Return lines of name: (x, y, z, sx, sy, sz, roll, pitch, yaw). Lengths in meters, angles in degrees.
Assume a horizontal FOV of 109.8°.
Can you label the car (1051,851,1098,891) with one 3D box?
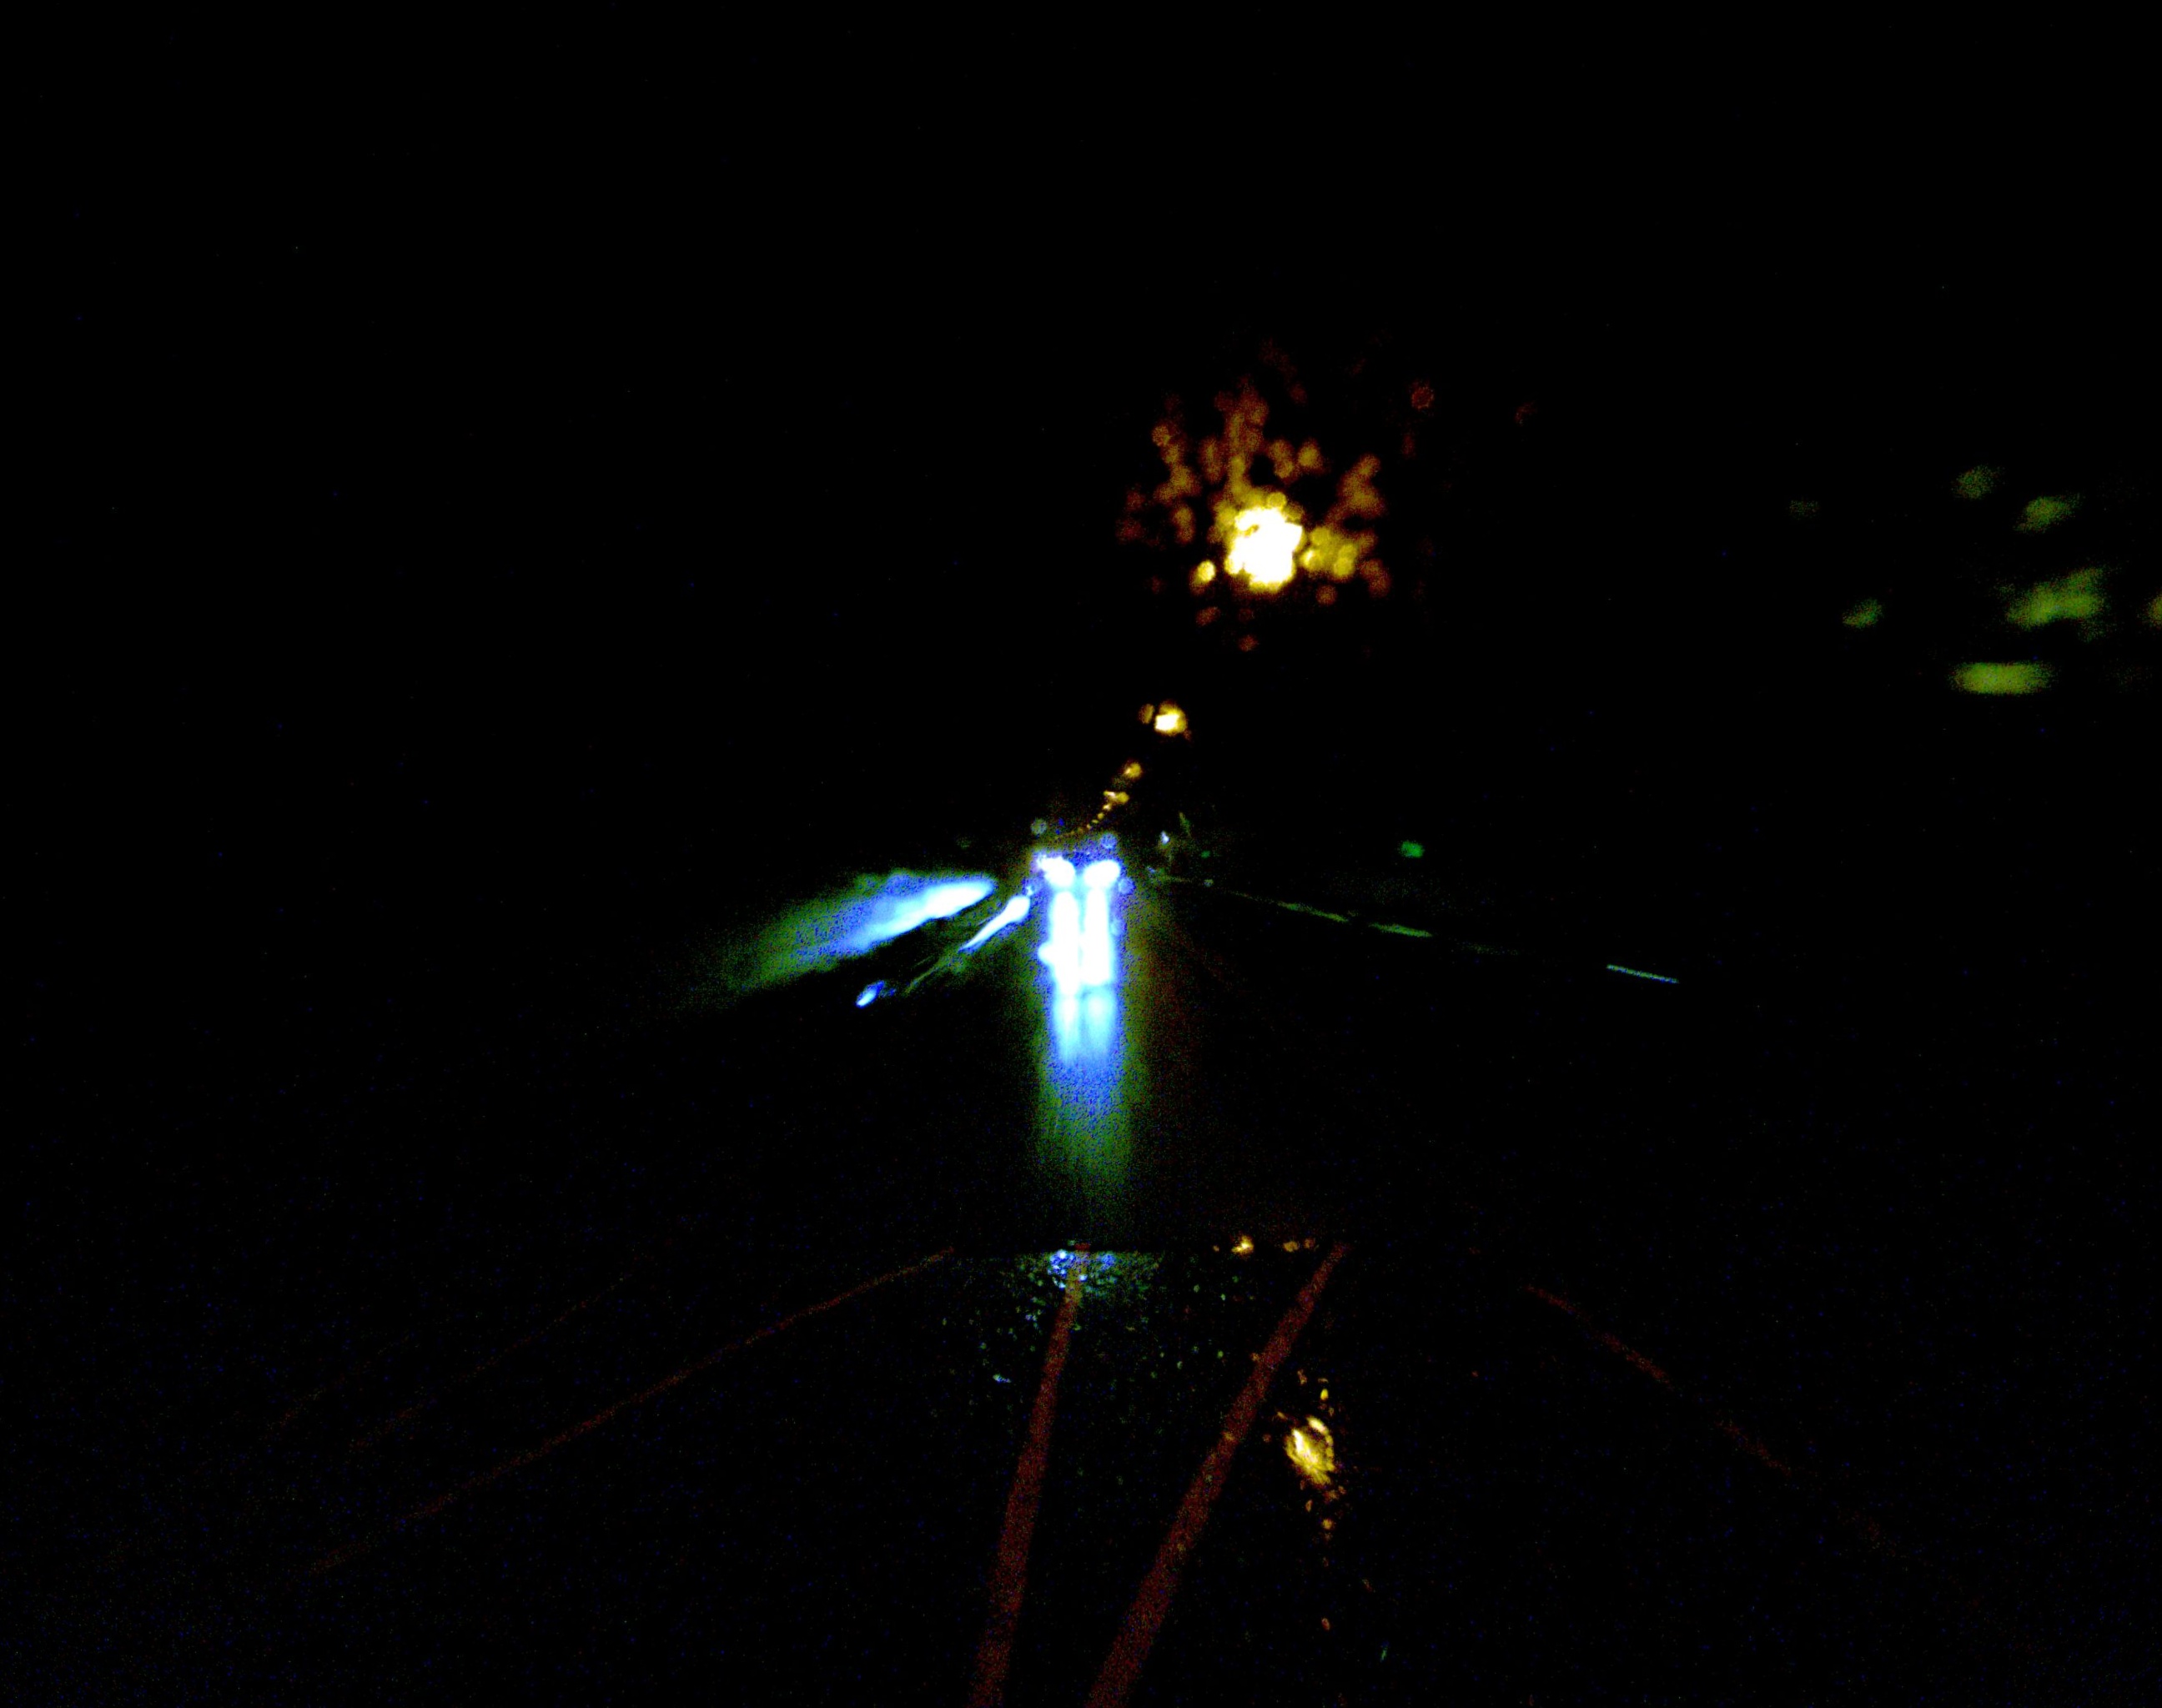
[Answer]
car: (-0.264, 0.739, 35.384, 1.998, 1.547, 3.999, -3, 2, 1)
